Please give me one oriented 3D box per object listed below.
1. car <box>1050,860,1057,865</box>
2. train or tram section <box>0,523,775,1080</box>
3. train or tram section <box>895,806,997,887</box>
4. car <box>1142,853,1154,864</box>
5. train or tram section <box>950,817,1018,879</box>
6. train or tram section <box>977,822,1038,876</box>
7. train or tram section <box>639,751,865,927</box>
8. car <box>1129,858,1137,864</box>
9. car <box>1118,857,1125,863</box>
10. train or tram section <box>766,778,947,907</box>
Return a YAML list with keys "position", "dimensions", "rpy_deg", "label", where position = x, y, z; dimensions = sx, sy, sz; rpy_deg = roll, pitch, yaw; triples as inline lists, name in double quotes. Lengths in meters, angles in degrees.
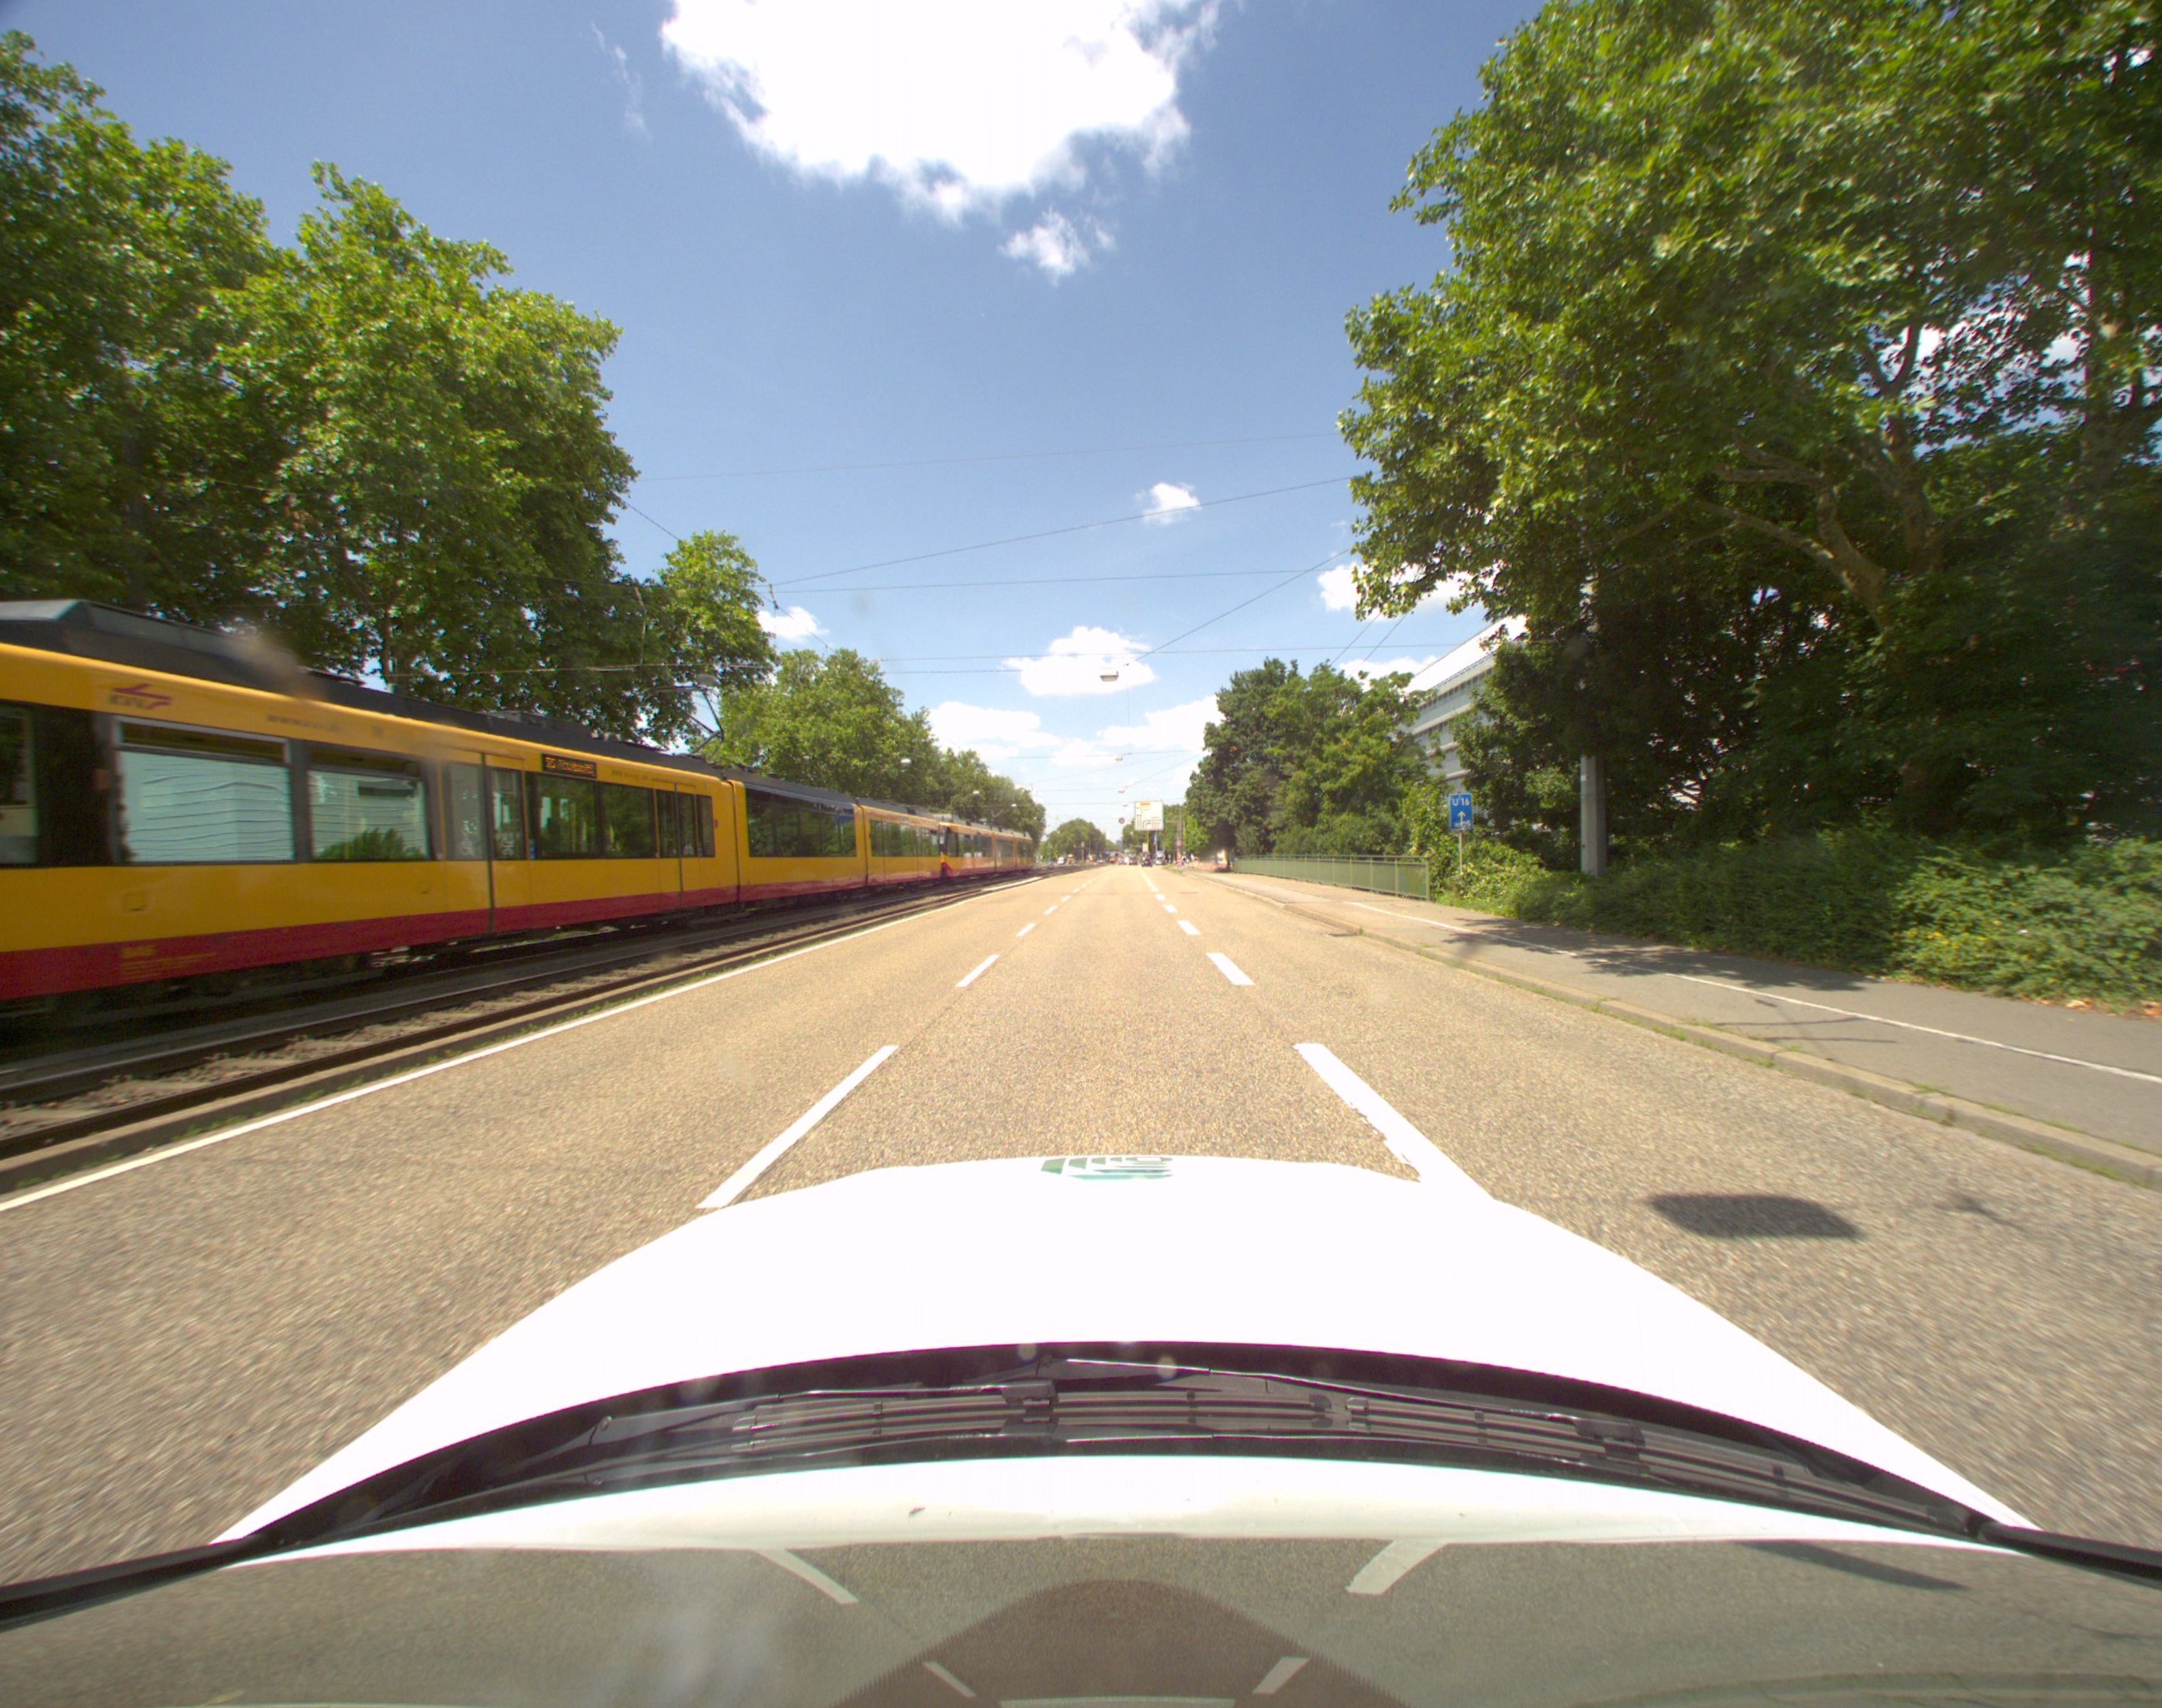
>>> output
- position: [-8.015, 2.457, 234.600]
  dimensions: [1.638, 1.550, 4.218]
  rpy_deg: [0, 0, 2]
  label: "car"
- position: [-9.571, -0.379, 12.930]
  dimensions: [3.036, 4.267, 15.429]
  rpy_deg: [-1, 0, 2]
  label: "train or tram section"
- position: [-7.768, -0.378, 49.402]
  dimensions: [3.025, 4.154, 13.494]
  rpy_deg: [-2, 0, 3]
  label: "train or tram section"
- position: [11.674, 0.770, 141.977]
  dimensions: [1.892, 1.805, 3.979]
  rpy_deg: [1, 0, 2]
  label: "car"
- position: [-7.015, -0.380, 60.515]
  dimensions: [3.024, 4.148, 10.244]
  rpy_deg: [-2, 0, 4]
  label: "train or tram section"
- position: [-6.213, -0.388, 71.726]
  dimensions: [3.024, 4.141, 13.996]
  rpy_deg: [-2, 0, 4]
  label: "train or tram section"
- position: [-9.157, -0.370, 24.015]
  dimensions: [3.036, 4.267, 8.008]
  rpy_deg: [-1, 0, 2]
  label: "train or tram section"
- position: [12.362, 1.649, 195.284]
  dimensions: [1.868, 1.539, 3.779]
  rpy_deg: [1, 0, 2]
  label: "car"
- position: [10.972, 1.575, 222.158]
  dimensions: [1.835, 1.550, 3.778]
  rpy_deg: [1, 0, 1]
  label: "car"
- position: [-8.673, -0.380, 34.271]
  dimensions: [3.036, 4.267, 14.045]
  rpy_deg: [-1, 0, 3]
  label: "train or tram section"
